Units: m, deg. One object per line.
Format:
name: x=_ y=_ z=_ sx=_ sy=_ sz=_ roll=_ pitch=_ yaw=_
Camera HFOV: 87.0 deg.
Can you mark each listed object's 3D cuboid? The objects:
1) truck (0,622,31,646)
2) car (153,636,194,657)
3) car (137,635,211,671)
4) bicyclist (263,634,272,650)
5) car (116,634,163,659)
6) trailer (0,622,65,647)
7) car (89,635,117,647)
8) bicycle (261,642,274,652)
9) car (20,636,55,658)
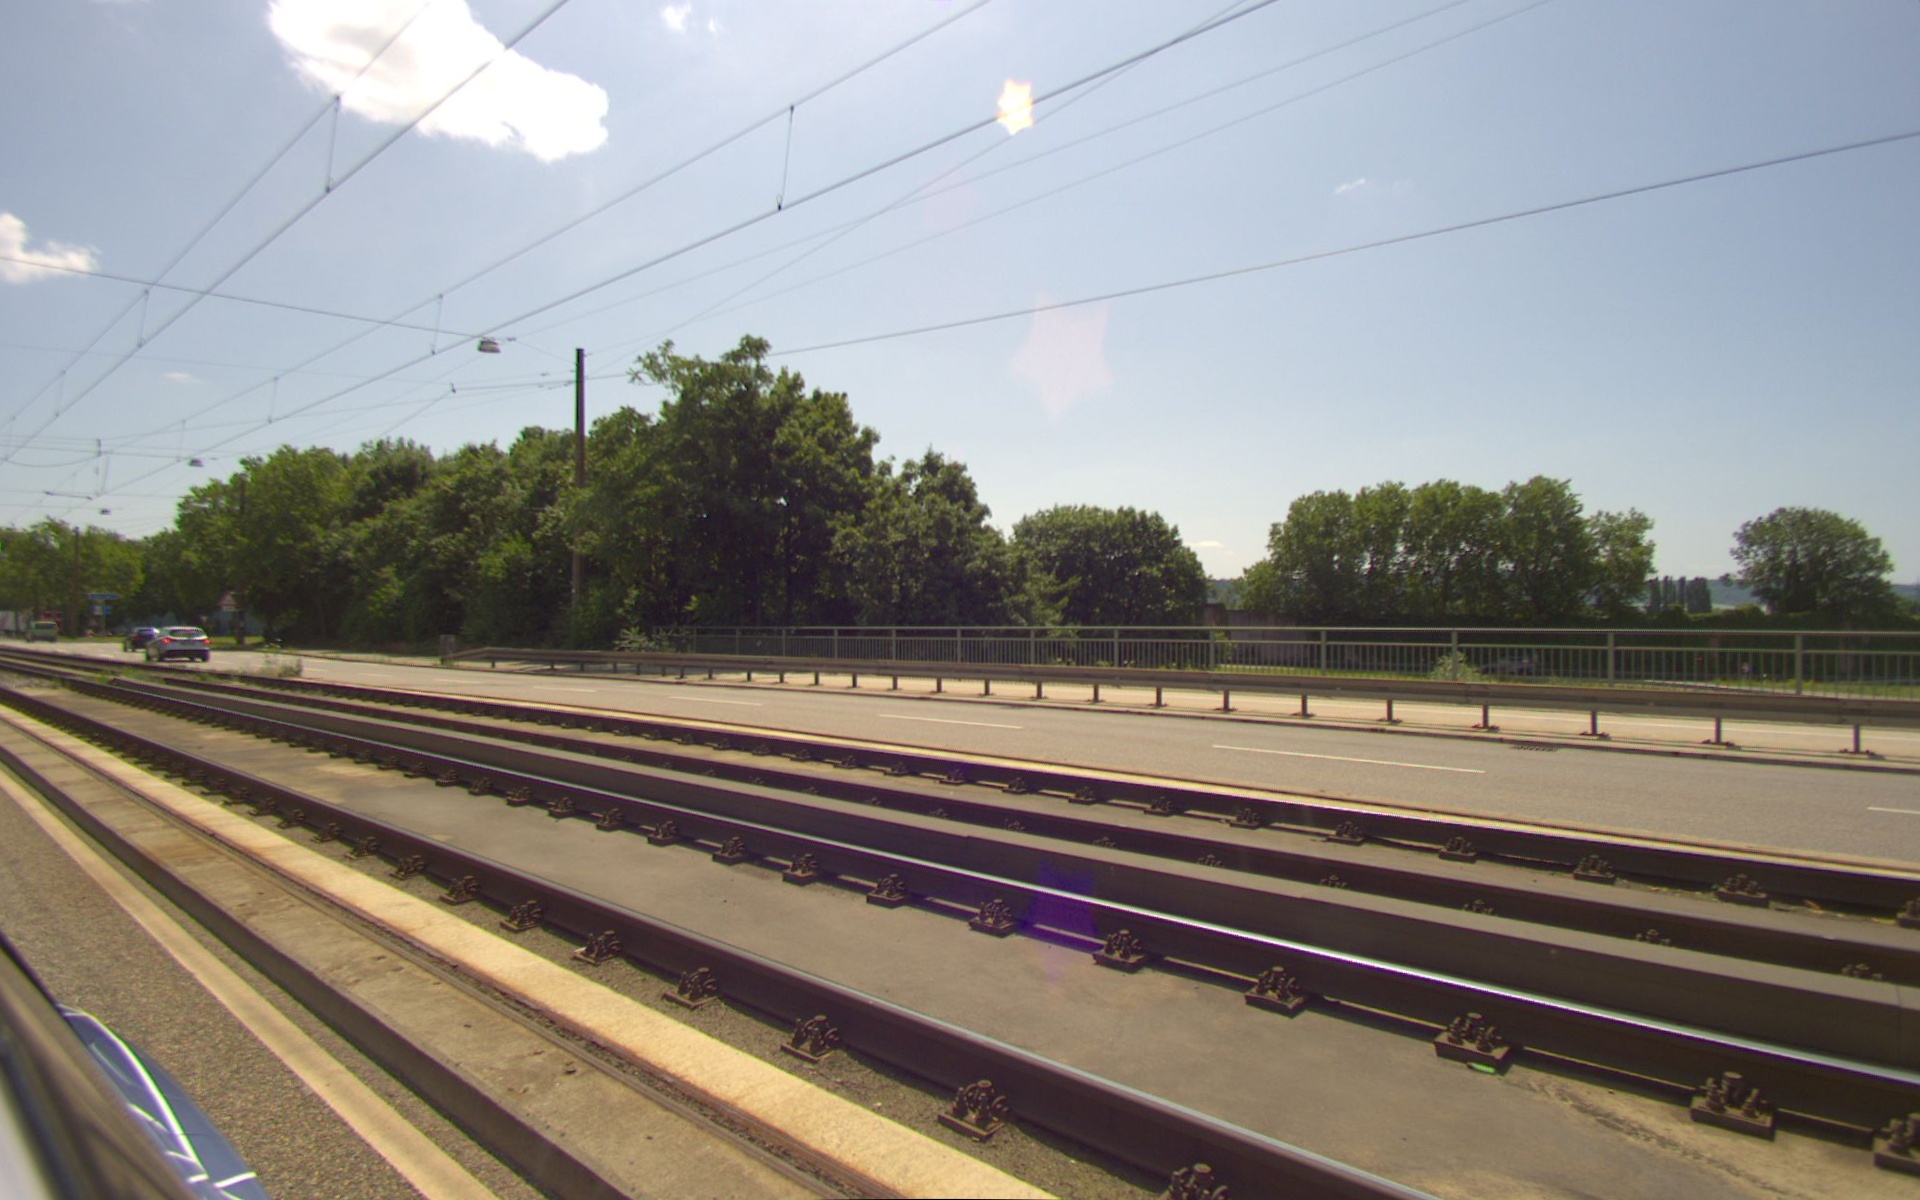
truck: x=-149.946 y=5.414 z=159.178 sx=6.721 sy=3.730 sz=3.389 roll=-1 pitch=-2 yaw=25
car: x=-53.587 y=3.156 z=68.927 sx=3.927 sy=1.357 sz=1.546 roll=-1 pitch=-3 yaw=42
car: x=-33.955 y=2.263 z=43.697 sx=4.622 sy=1.431 sz=1.693 roll=-1 pitch=-3 yaw=42
bicyclist: x=-60.472 y=3.668 z=88.327 sx=0.562 sy=1.378 sz=0.632 roll=-1 pitch=0 yaw=-43
car: x=-49.617 y=2.787 z=61.179 sx=3.936 sy=1.411 sz=1.558 roll=-1 pitch=-2 yaw=41
trailer: x=-142.945 y=5.306 z=155.792 sx=12.041 sy=3.683 sz=3.359 roll=-1 pitch=-2 yaw=26
car: x=-125.871 y=5.991 z=148.645 sx=3.368 sy=1.806 sz=1.557 roll=-1 pitch=-2 yaw=16
bicycle: x=-60.461 y=4.117 z=88.327 sx=0.579 sy=0.825 sz=2.070 roll=-1 pitch=1 yaw=-43
car: x=-84.017 y=4.234 z=92.177 sx=5.177 sy=1.940 sz=1.792 roll=-1 pitch=-3 yaw=42
